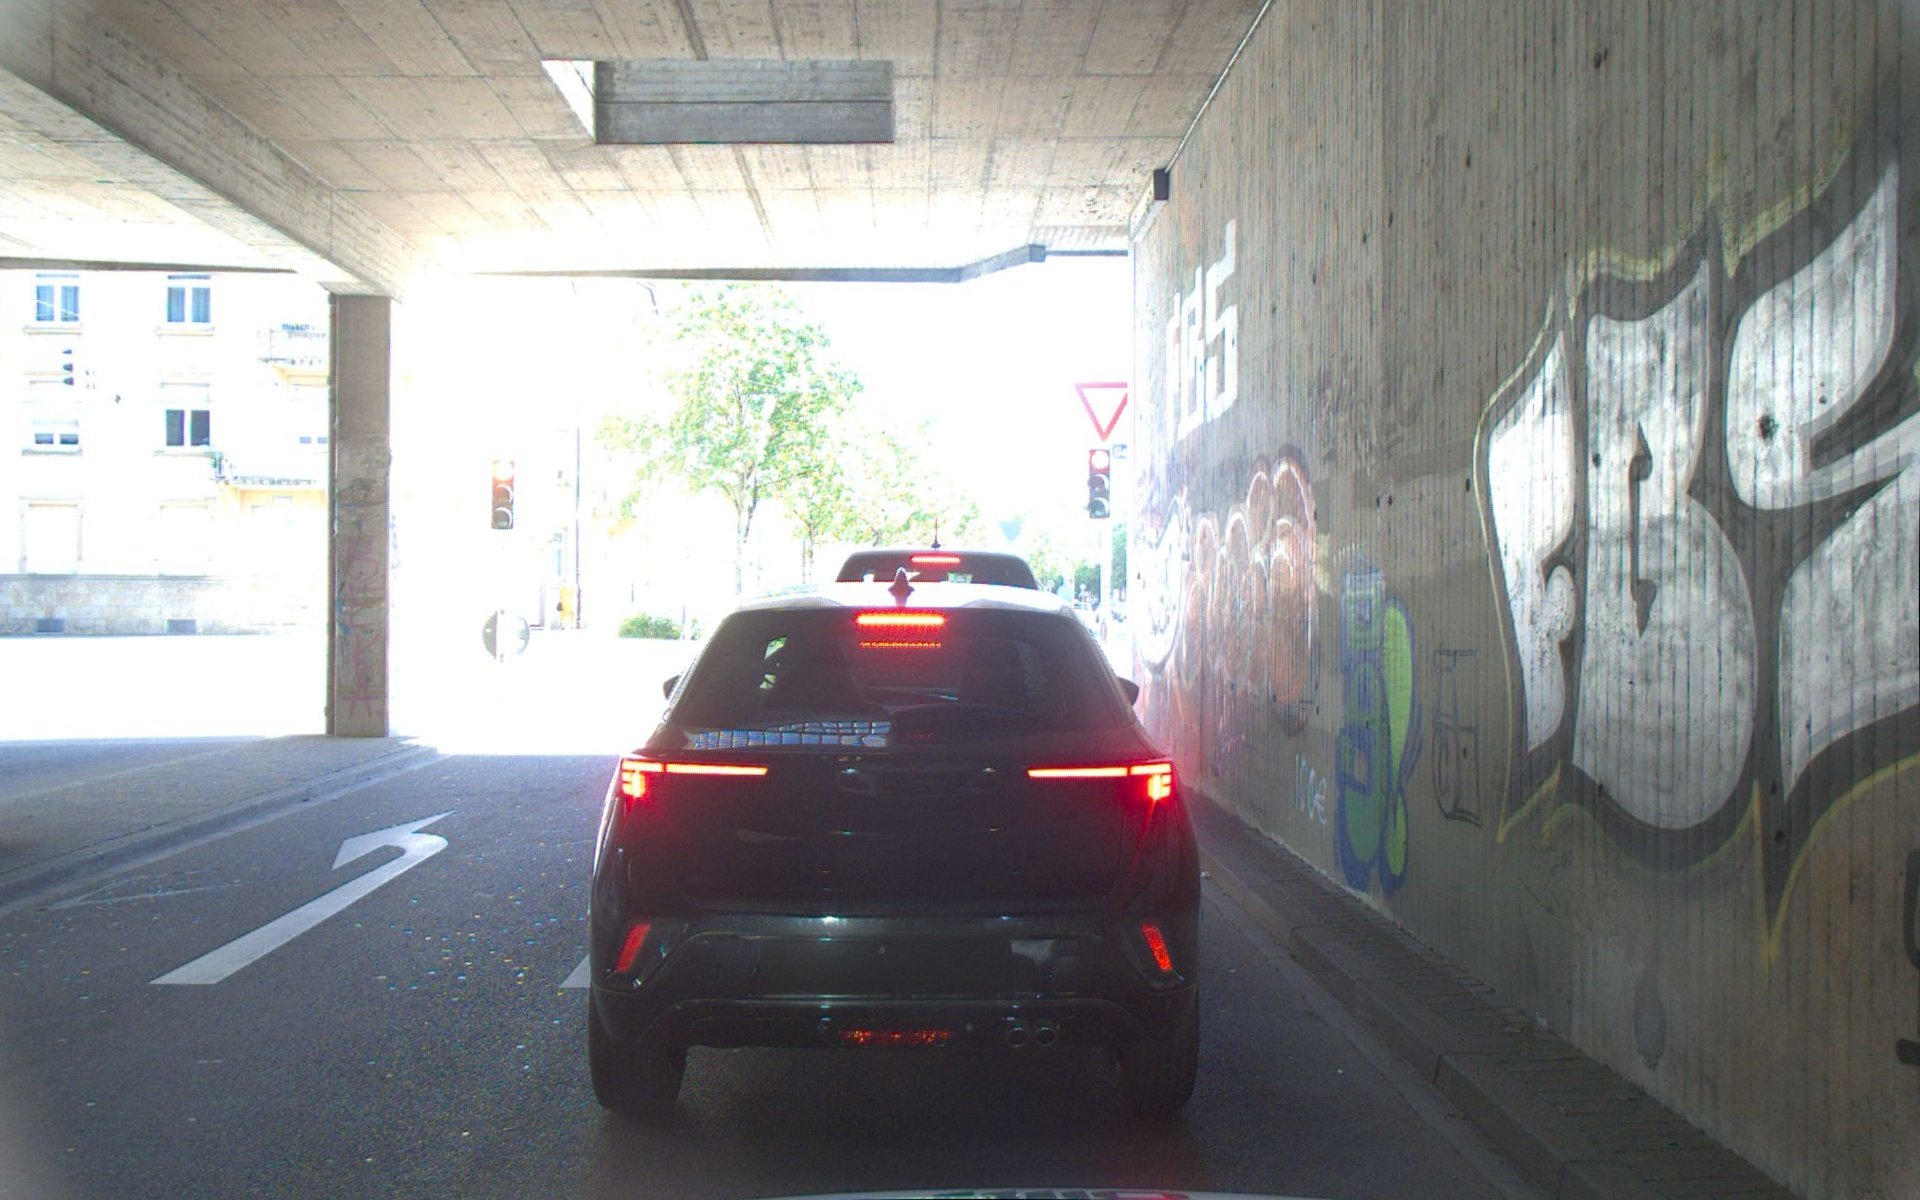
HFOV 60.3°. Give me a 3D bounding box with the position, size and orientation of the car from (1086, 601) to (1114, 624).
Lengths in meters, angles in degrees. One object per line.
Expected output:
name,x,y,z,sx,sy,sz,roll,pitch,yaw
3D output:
car,9.451,0.812,111.696,1.564,1.477,3.798,0,0,10

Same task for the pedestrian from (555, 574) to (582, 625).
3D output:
pedestrian,-13.460,-0.011,56.888,0.609,1.734,0.724,1,-1,9

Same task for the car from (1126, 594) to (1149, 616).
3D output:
car,13.983,0.404,130.169,1.550,1.668,3.809,0,0,9

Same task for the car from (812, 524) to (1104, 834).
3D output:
car,-0.033,0.471,12.066,1.749,1.865,3.960,1,0,-1

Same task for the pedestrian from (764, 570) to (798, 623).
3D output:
pedestrian,-5.550,-0.095,51.328,0.720,1.612,0.891,1,-1,15

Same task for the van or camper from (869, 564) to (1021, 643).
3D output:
van or camper,-0.360,0.086,43.607,3.795,2.049,2.002,0,0,7

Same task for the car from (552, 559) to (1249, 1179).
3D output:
car,-0.162,0.665,6.141,1.718,1.525,4.000,1,0,-1

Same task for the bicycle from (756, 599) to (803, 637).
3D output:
bicycle,-5.577,0.550,51.243,0.721,1.150,2.027,0,0,16
